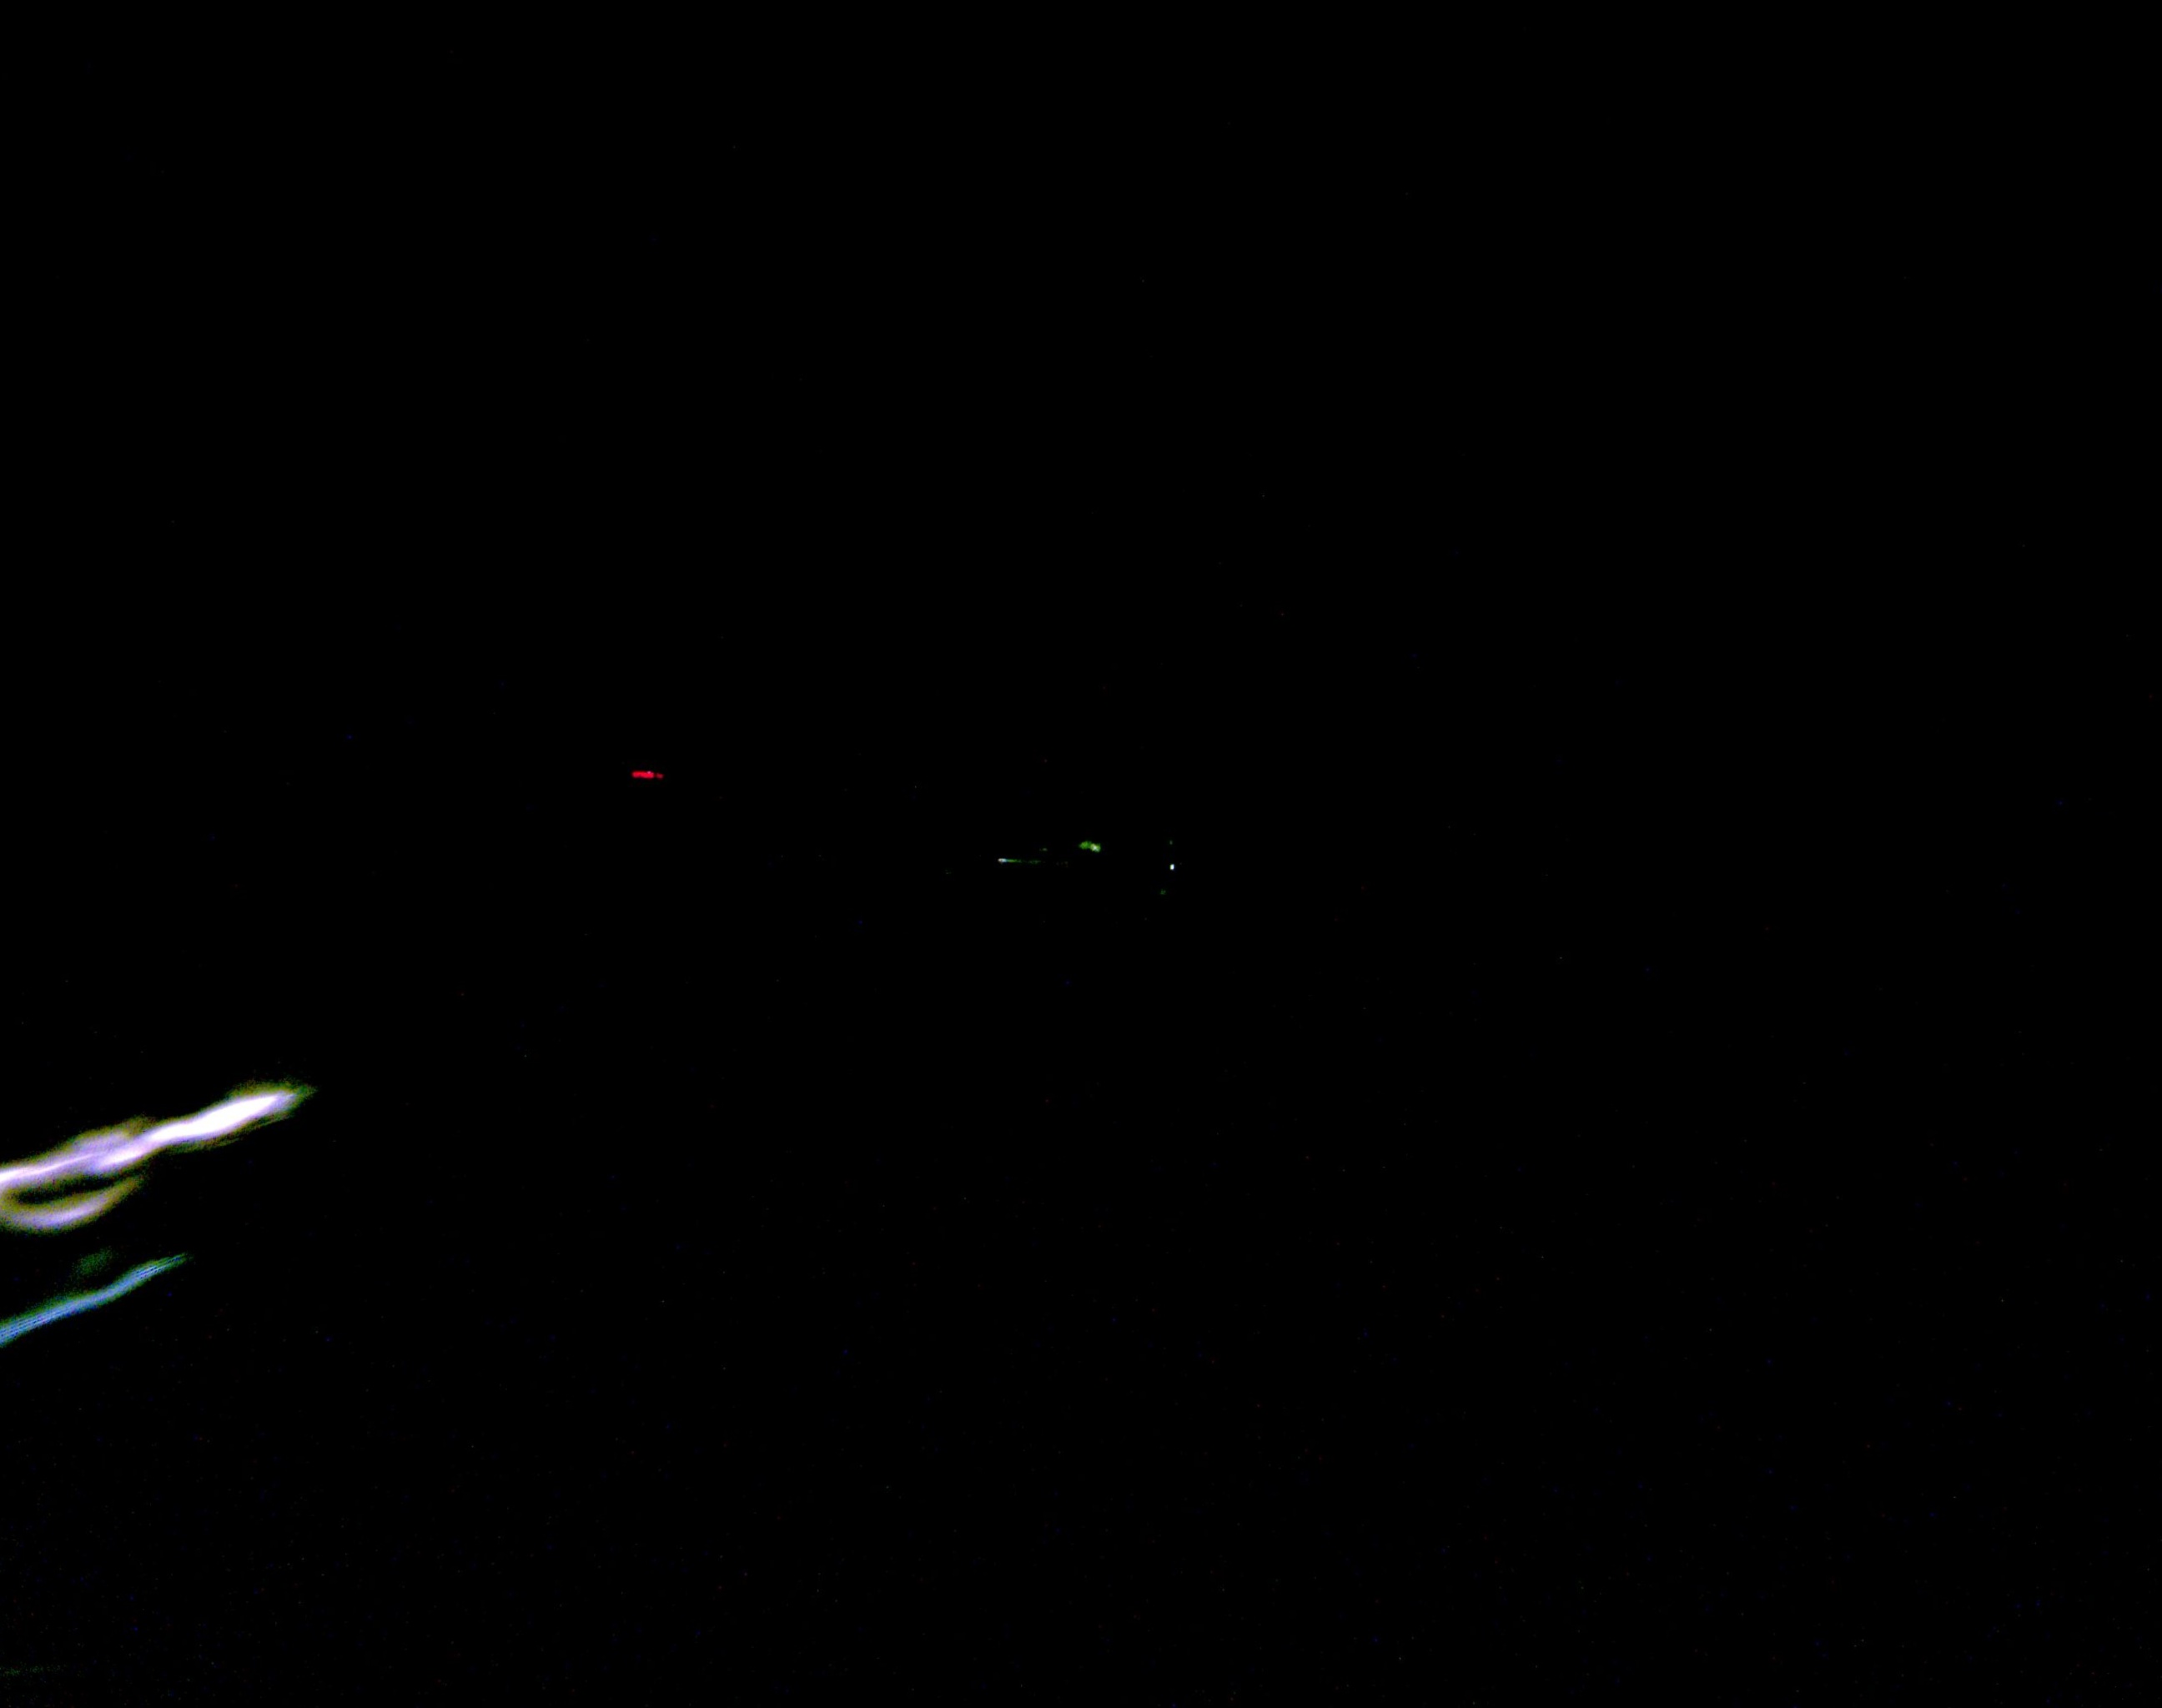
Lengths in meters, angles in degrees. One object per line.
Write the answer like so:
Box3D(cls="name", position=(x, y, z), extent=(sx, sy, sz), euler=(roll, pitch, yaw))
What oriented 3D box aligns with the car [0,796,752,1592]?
Box3D(cls="car", position=(-3.191, 0.721, 3.434), extent=(1.914, 1.646, 4.025), euler=(-1, 0, 0))
